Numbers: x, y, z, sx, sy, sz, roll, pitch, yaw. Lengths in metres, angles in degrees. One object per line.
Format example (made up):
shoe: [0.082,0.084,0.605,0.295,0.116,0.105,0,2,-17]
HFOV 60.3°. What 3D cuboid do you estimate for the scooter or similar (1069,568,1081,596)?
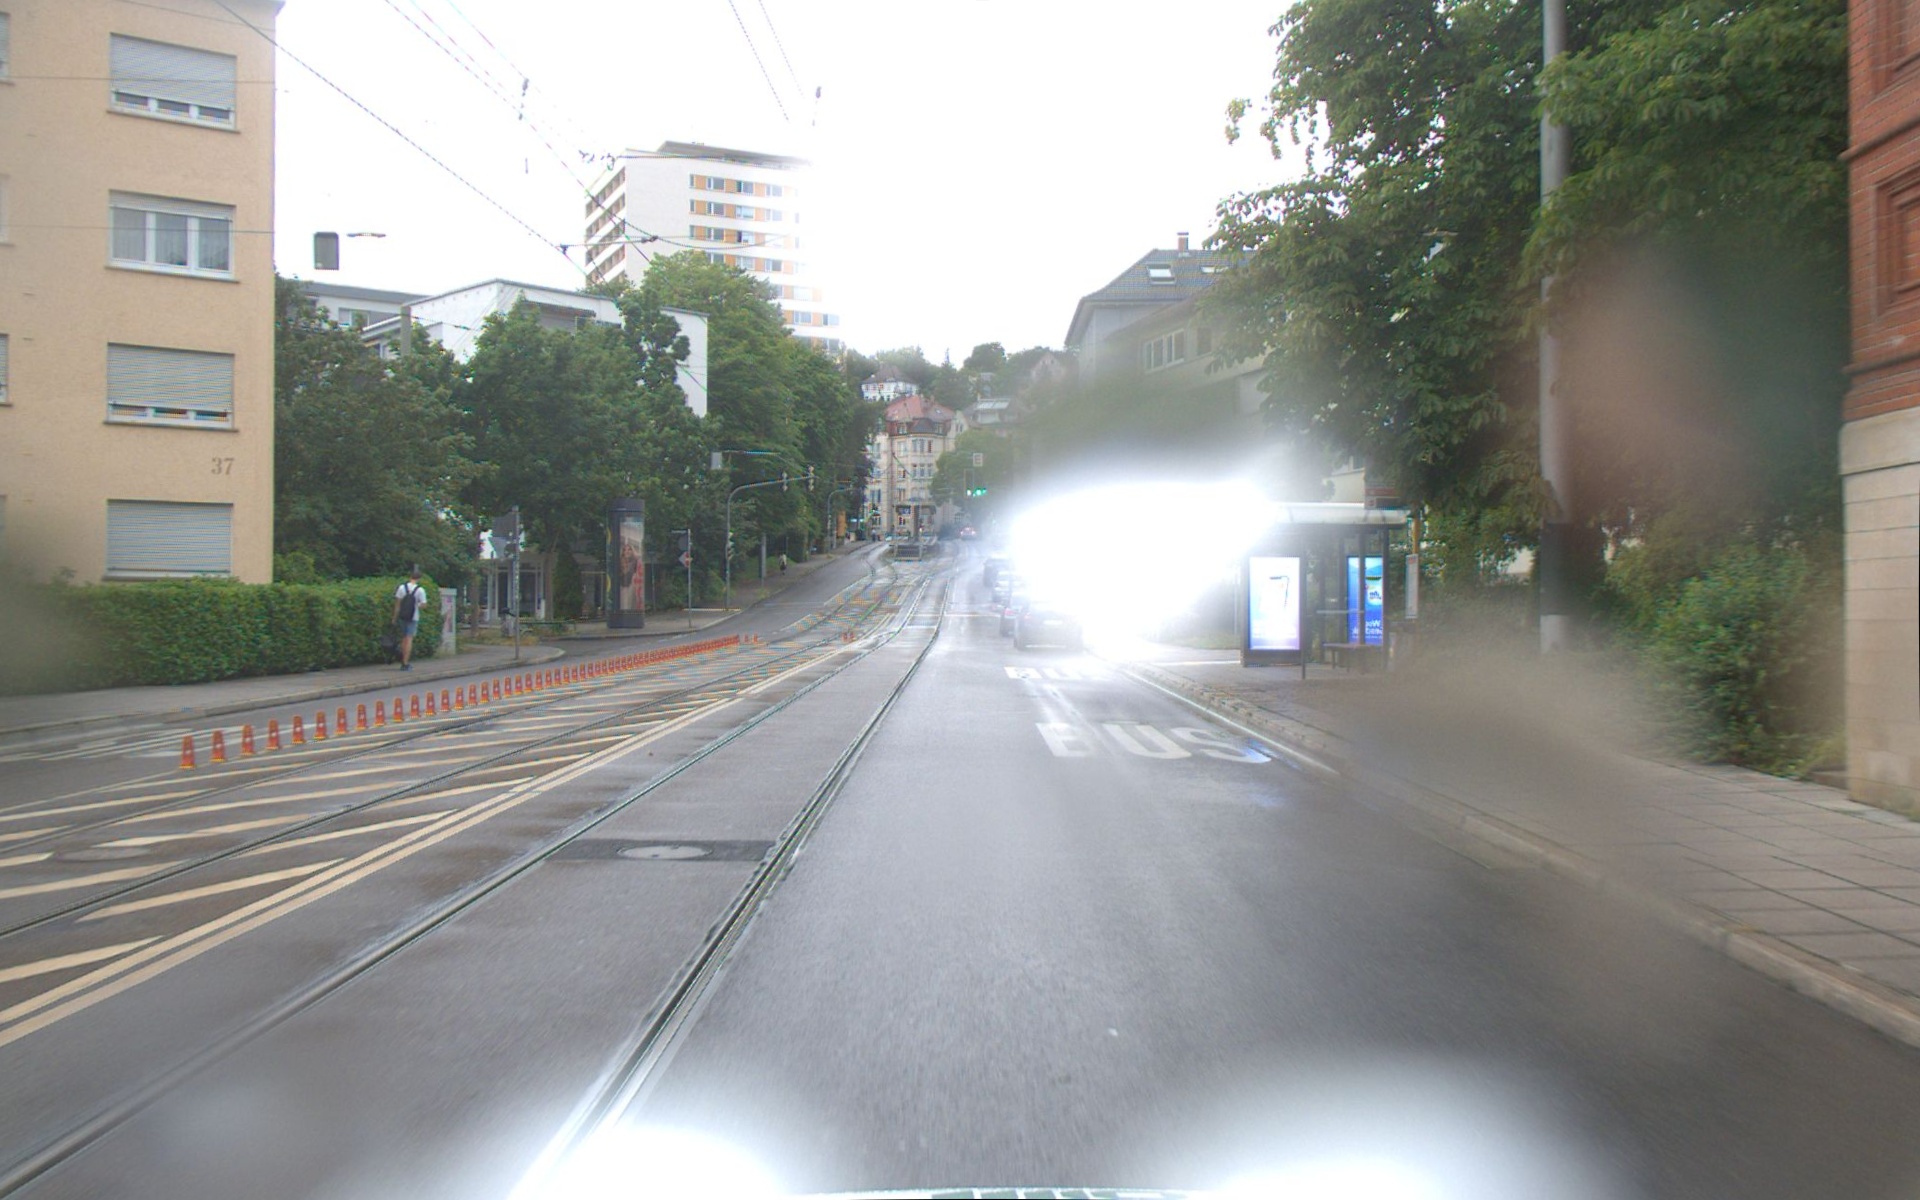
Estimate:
scooter or similar: [5.767,-0.929,82.988,0.562,1.270,1.612,1,5,5]

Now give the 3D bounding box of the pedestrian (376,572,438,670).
pedestrian: [-10.919,0.407,32.665,0.901,1.878,1.016,1,-1,-5]

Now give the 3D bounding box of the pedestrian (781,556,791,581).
pedestrian: [-11.659,-2.134,110.693,0.571,1.628,0.869,2,2,-4]

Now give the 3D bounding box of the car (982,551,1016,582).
car: [2.302,-2.011,98.582,1.867,1.670,4.690,1,3,-1]

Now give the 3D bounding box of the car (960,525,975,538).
car: [0.940,-9.053,219.638,1.867,1.670,4.690,1,3,-1]

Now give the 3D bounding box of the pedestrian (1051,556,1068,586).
pedestrian: [5.484,-1.603,91.056,0.864,1.610,0.802,-1,4,2]

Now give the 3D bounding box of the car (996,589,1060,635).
car: [2.319,0.379,57.245,1.901,1.489,4.205,1,0,-2]

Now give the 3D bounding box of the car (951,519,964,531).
car: [-0.367,-11.440,252.165,1.867,1.670,4.690,1,3,-1]

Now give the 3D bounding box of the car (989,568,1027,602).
car: [2.369,-0.761,82.389,1.670,1.458,4.102,1,3,-1]

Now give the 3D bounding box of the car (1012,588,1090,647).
car: [2.464,0.441,45.905,1.820,1.513,4.644,1,1,-1]

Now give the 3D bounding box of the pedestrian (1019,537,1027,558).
pedestrian: [5.023,-4.184,132.339,0.631,1.657,0.699,0,1,-2]
